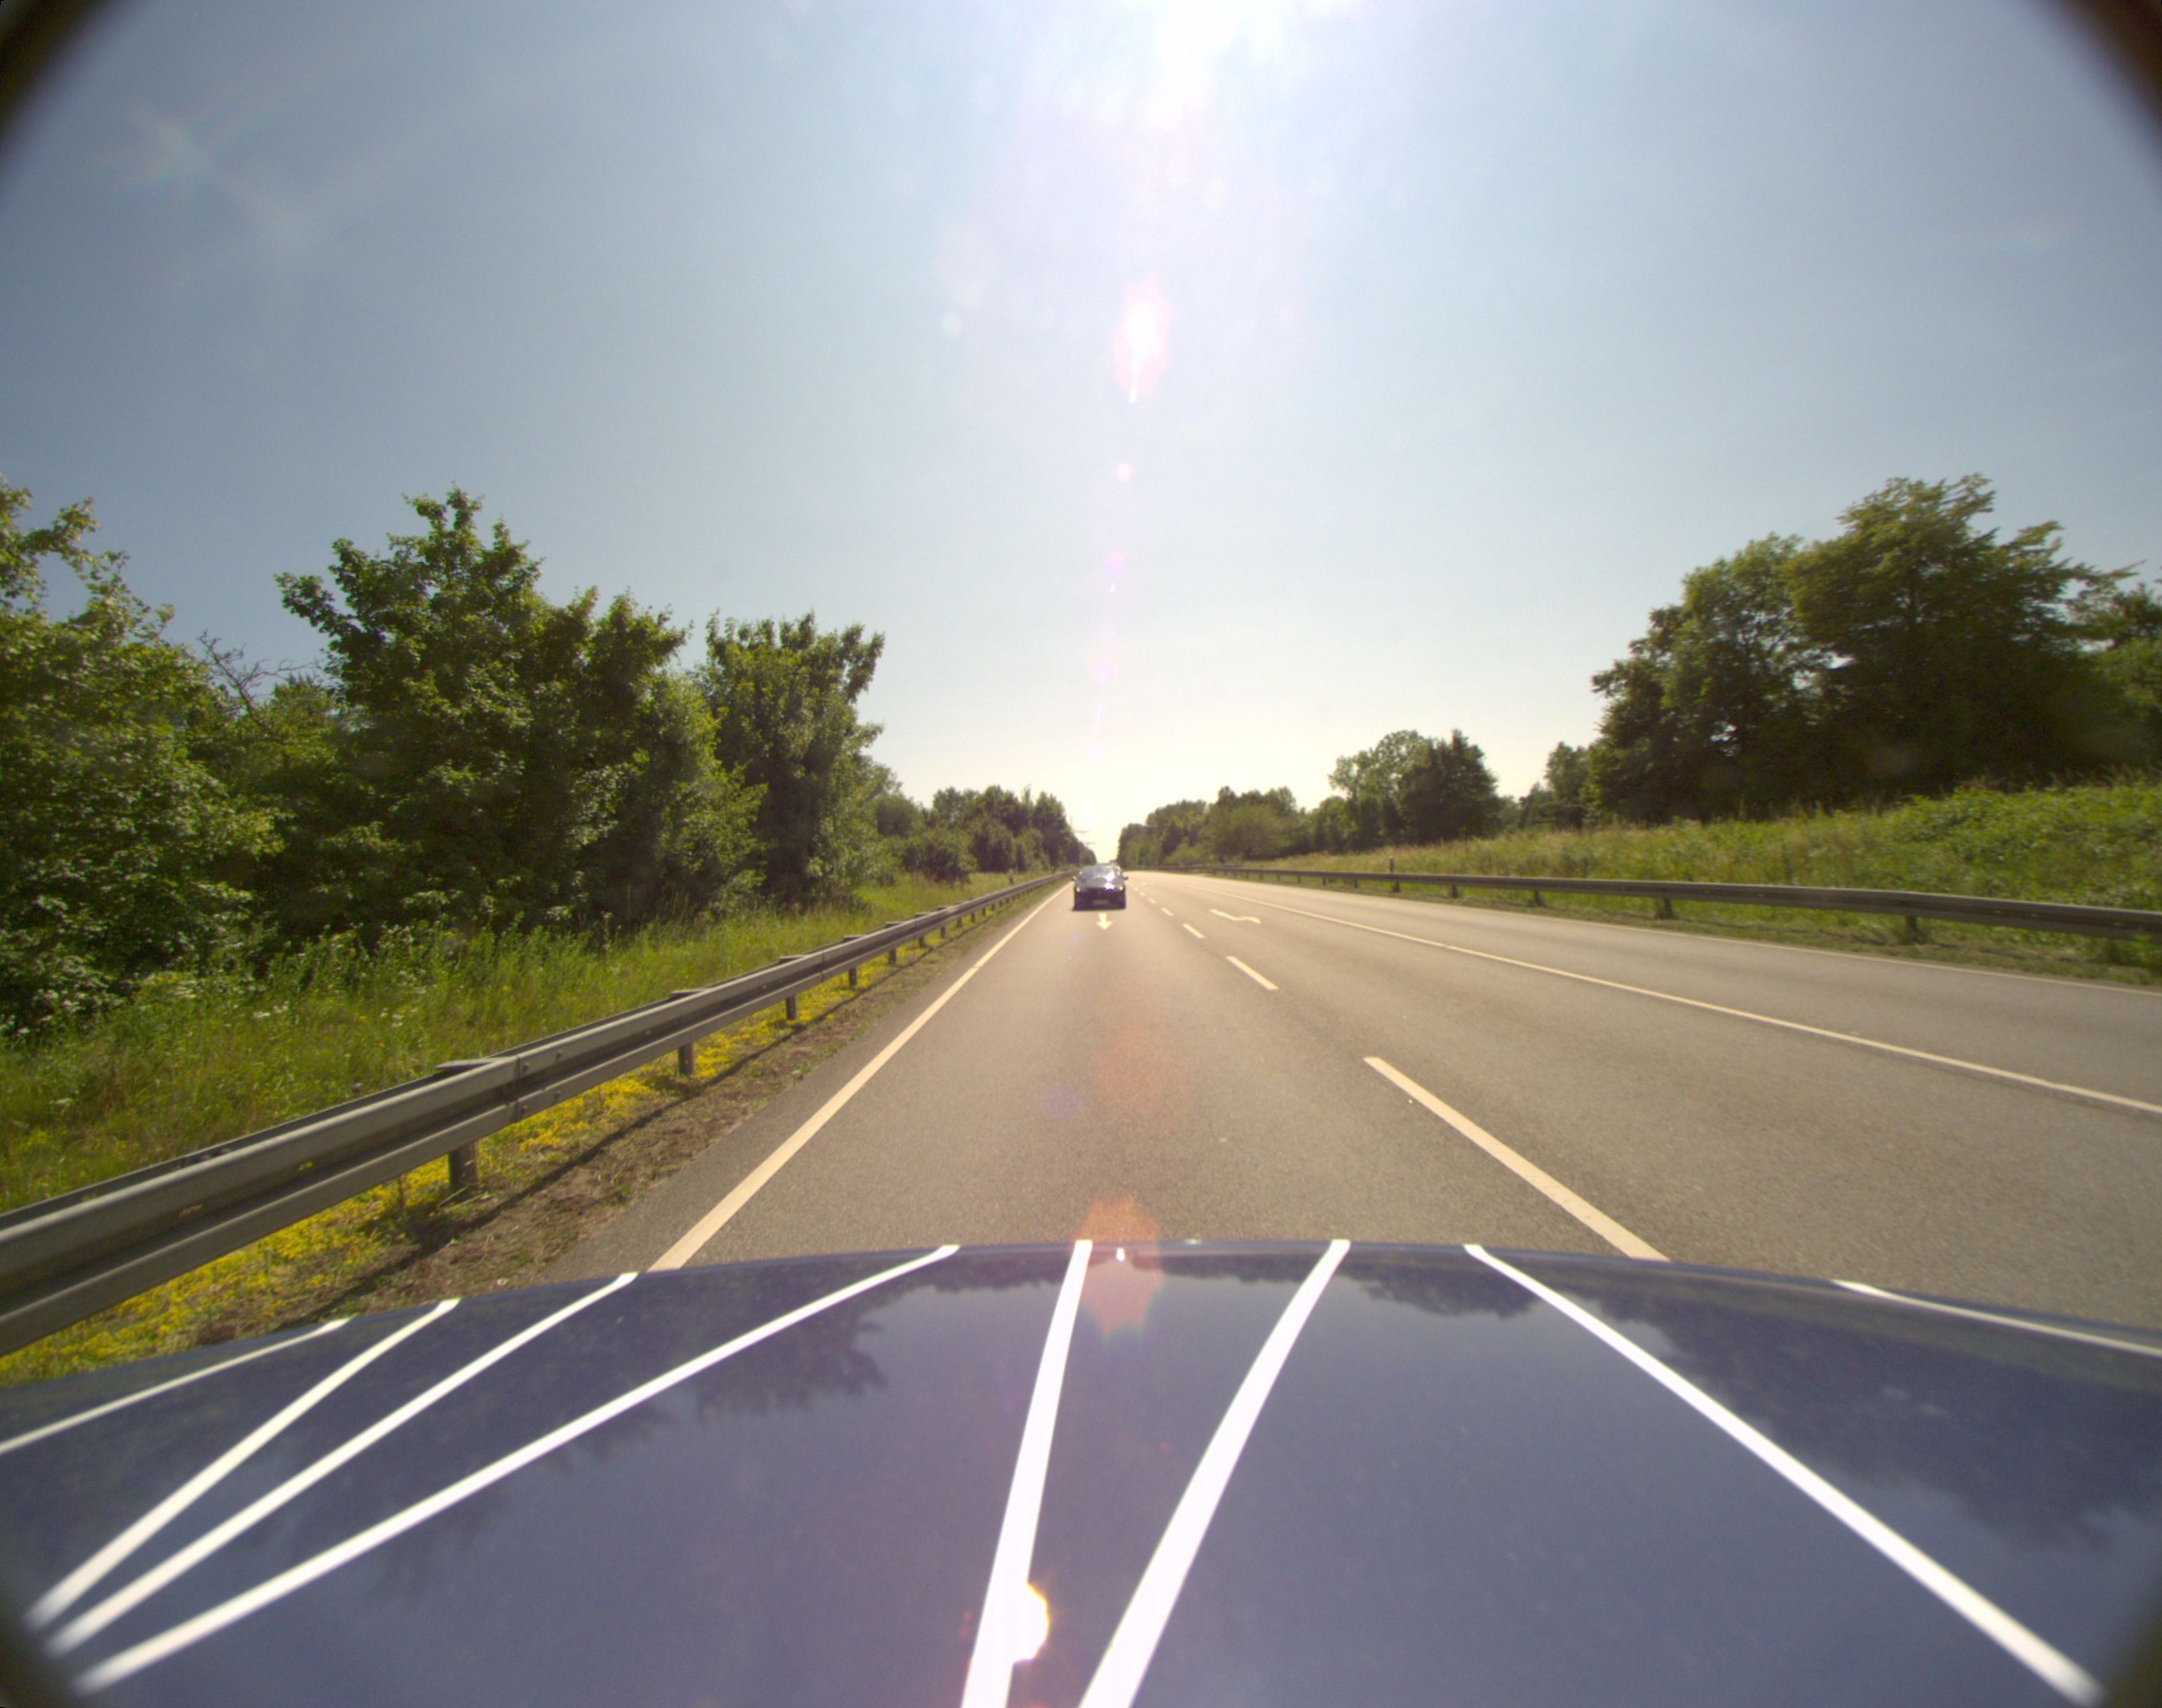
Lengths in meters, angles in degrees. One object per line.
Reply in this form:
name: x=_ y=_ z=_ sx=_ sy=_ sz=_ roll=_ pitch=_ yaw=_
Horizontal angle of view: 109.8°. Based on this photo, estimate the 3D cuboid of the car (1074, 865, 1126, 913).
car: x=0.627 y=1.081 z=24.624 sx=1.529 sy=1.387 sz=3.444 roll=-1 pitch=0 yaw=2

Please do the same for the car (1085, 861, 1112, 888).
car: x=0.983 y=1.145 z=43.271 sx=1.443 sy=1.443 sz=3.298 roll=-2 pitch=0 yaw=0
